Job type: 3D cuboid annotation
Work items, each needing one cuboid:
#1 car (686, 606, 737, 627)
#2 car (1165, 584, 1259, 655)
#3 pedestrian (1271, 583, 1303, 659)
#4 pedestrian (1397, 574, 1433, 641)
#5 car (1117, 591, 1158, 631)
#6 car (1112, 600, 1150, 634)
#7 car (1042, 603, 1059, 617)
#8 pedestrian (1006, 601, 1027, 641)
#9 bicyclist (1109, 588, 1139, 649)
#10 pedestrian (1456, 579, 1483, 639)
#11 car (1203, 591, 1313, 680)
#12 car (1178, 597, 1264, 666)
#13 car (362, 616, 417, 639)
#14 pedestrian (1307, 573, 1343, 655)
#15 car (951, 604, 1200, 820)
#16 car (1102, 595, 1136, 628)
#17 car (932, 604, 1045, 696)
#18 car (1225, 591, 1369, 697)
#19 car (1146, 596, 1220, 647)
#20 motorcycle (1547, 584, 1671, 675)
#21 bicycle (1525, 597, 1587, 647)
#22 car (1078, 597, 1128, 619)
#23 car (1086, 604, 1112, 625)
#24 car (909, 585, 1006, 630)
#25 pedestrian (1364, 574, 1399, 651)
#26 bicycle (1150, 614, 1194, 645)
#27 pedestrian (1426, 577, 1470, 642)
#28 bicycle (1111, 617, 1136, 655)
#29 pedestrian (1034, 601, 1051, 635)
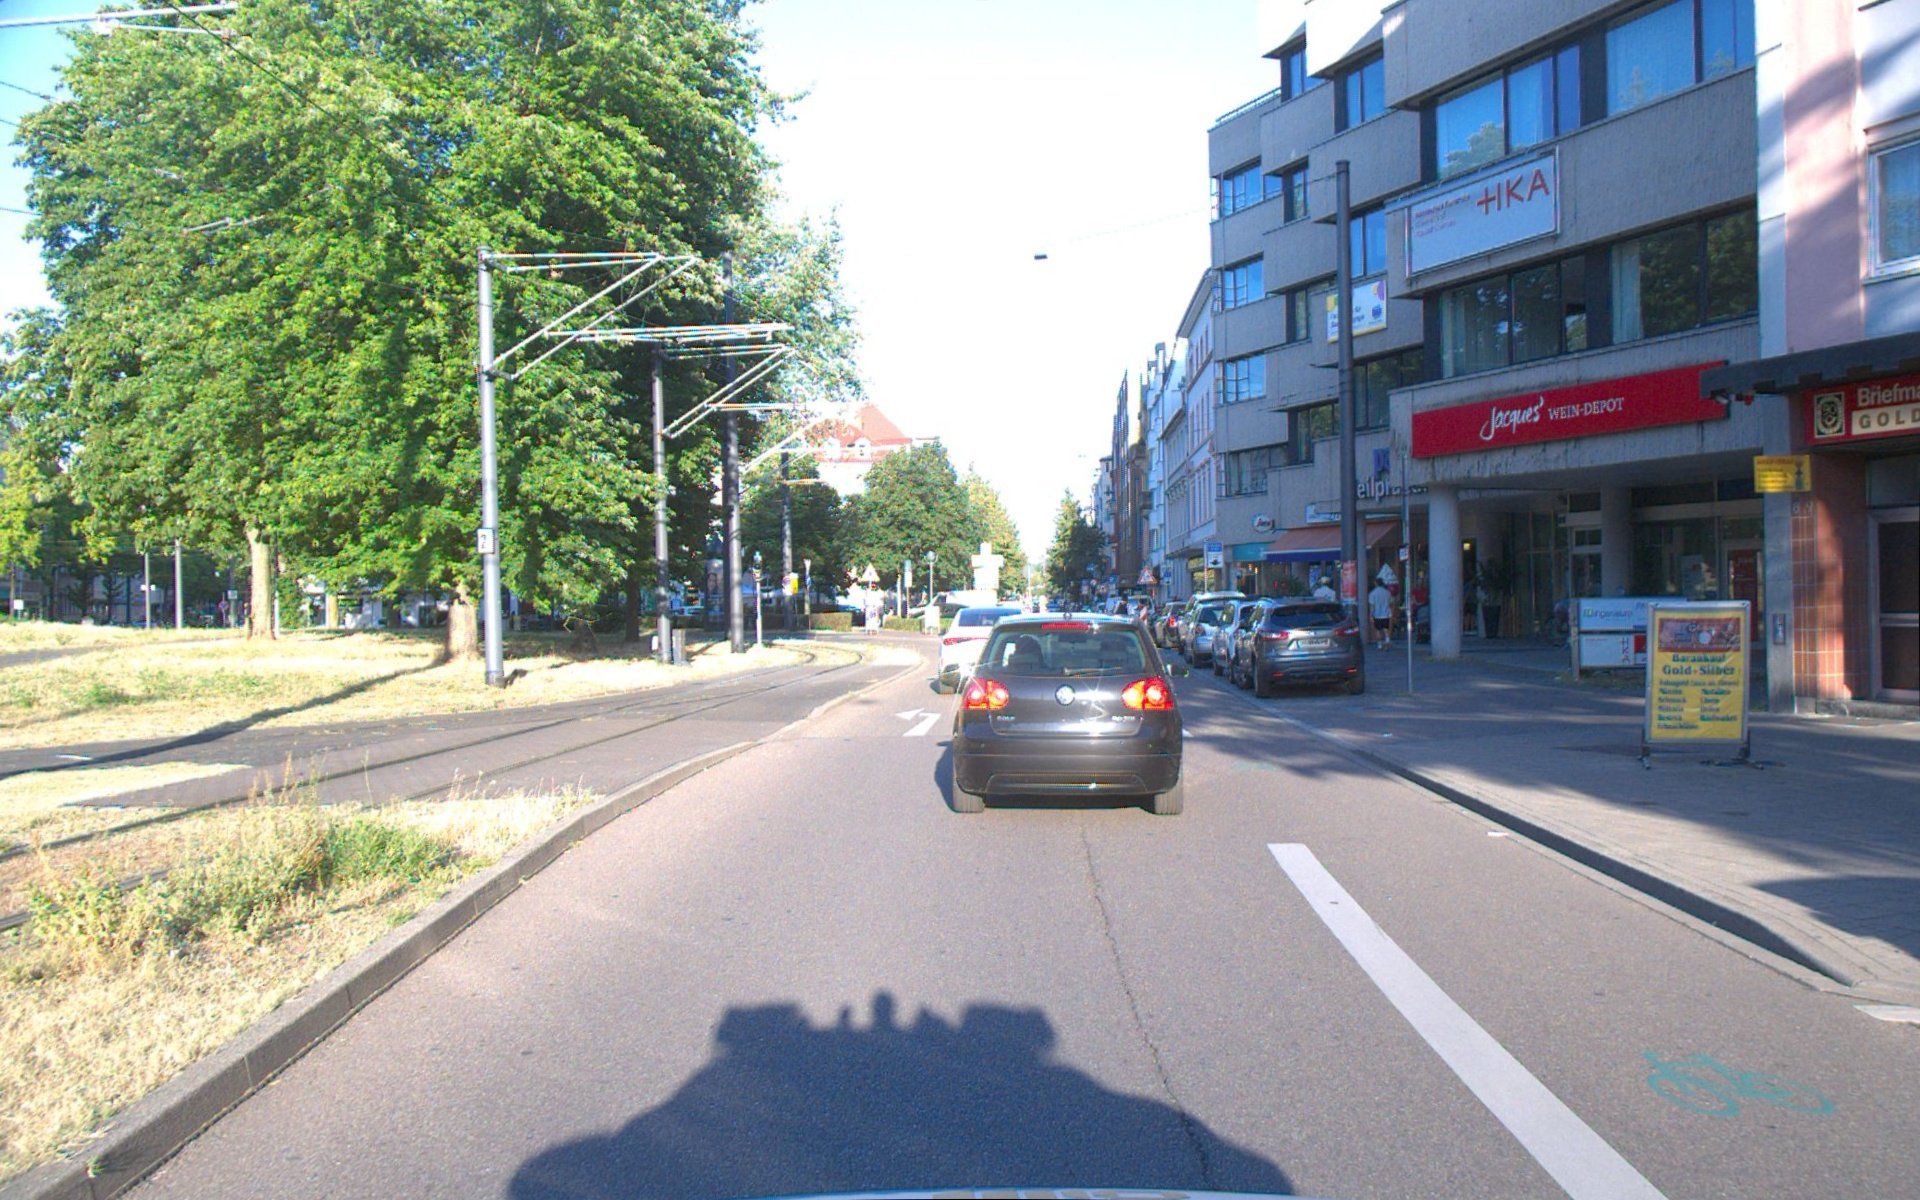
[{"bbox_3d":[-18.679,1.231,124.478,3.559,1.579,1.652,0,-1,-20],"label":"car"},{"bbox_3d":[6.764,0.510,44.846,1.829,1.743,4.505,-3,0,1],"label":"car"},{"bbox_3d":[7.824,0.500,39.565,0.566,1.790,0.662,-4,-1,4],"label":"pedestrian"},{"bbox_3d":[12.243,0.202,44.515,0.682,1.757,1.033,-2,0,4],"label":"pedestrian"},{"bbox_3d":[8.630,0.532,80.774,1.698,1.831,3.918,-2,-1,3],"label":"car"},{"bbox_3d":[8.882,0.890,85.992,1.698,1.645,3.918,-2,-1,3],"label":"car"},{"bbox_3d":[10.344,1.151,188.894,1.867,1.579,4.001,-1,0,2],"label":"car"},{"bbox_3d":[2.463,0.908,72.013,0.842,1.736,0.940,0,-1,-3],"label":"pedestrian"},{"bbox_3d":[4.454,0.496,44.989,0.761,1.646,1.025,0,-1,2],"label":"bicyclist"},{"bbox_3d":[15.396,0.281,49.990,0.588,1.790,0.518,0,-1,-21],"label":"pedestrian"},{"bbox_3d":[5.889,0.671,33.030,1.574,1.583,3.611,-3,0,2],"label":"car"},{"bbox_3d":[6.147,0.705,39.281,1.627,1.466,3.857,-3,0,4],"label":"car"},{"bbox_3d":[-39.561,1.897,114.662,3.559,1.579,1.652,0,-1,-20],"label":"car"},{"bbox_3d":[8.691,0.338,39.401,0.609,1.890,0.662,-4,-1,4],"label":"pedestrian"},{"bbox_3d":[0.901,0.787,13.542,1.711,1.486,4.104,0,0,3],"label":"car"},{"bbox_3d":[9.461,0.688,98.639,1.885,1.873,4.019,-2,-1,4],"label":"car"},{"bbox_3d":[0.548,0.822,29.276,1.826,1.466,4.198,-1,0,2],"label":"car"},{"bbox_3d":[5.678,0.703,28.298,1.745,1.583,4.236,-3,0,3],"label":"car"},{"bbox_3d":[7.037,0.665,52.489,1.629,1.466,3.821,-3,0,-2],"label":"car"},{"bbox_3d":[10.353,0.459,26.389,1.750,1.354,0.582,-3,0,-10],"label":"motorcycle"},{"bbox_3d":[14.149,0.522,39.270,1.740,1.091,0.477,-3,0,-37],"label":"bicycle"},{"bbox_3d":[12.171,0.682,140.906,3.903,1.803,2.001,-1,0,19],"label":"car"},{"bbox_3d":[10.529,1.096,125.093,1.715,1.537,3.546,-2,-1,1],"label":"car"},{"bbox_3d":[-0.140,0.426,98.983,5.438,2.640,2.139,0,-1,-24],"label":"car"},{"bbox_3d":[10.061,0.298,39.505,0.609,1.770,0.662,-4,-1,4],"label":"pedestrian"},{"bbox_3d":[8.332,1.154,64.939,1.575,1.138,0.610,-3,0,36],"label":"bicycle"},{"bbox_3d":[13.071,0.260,44.286,0.968,1.702,0.642,-2,0,4],"label":"pedestrian"},{"bbox_3d":[4.447,0.967,44.989,0.567,1.004,1.936,0,0,3],"label":"bicycle"},{"bbox_3d":[3.889,0.865,78.108,0.721,1.582,0.632,-1,-1,-1],"label":"pedestrian"}]
